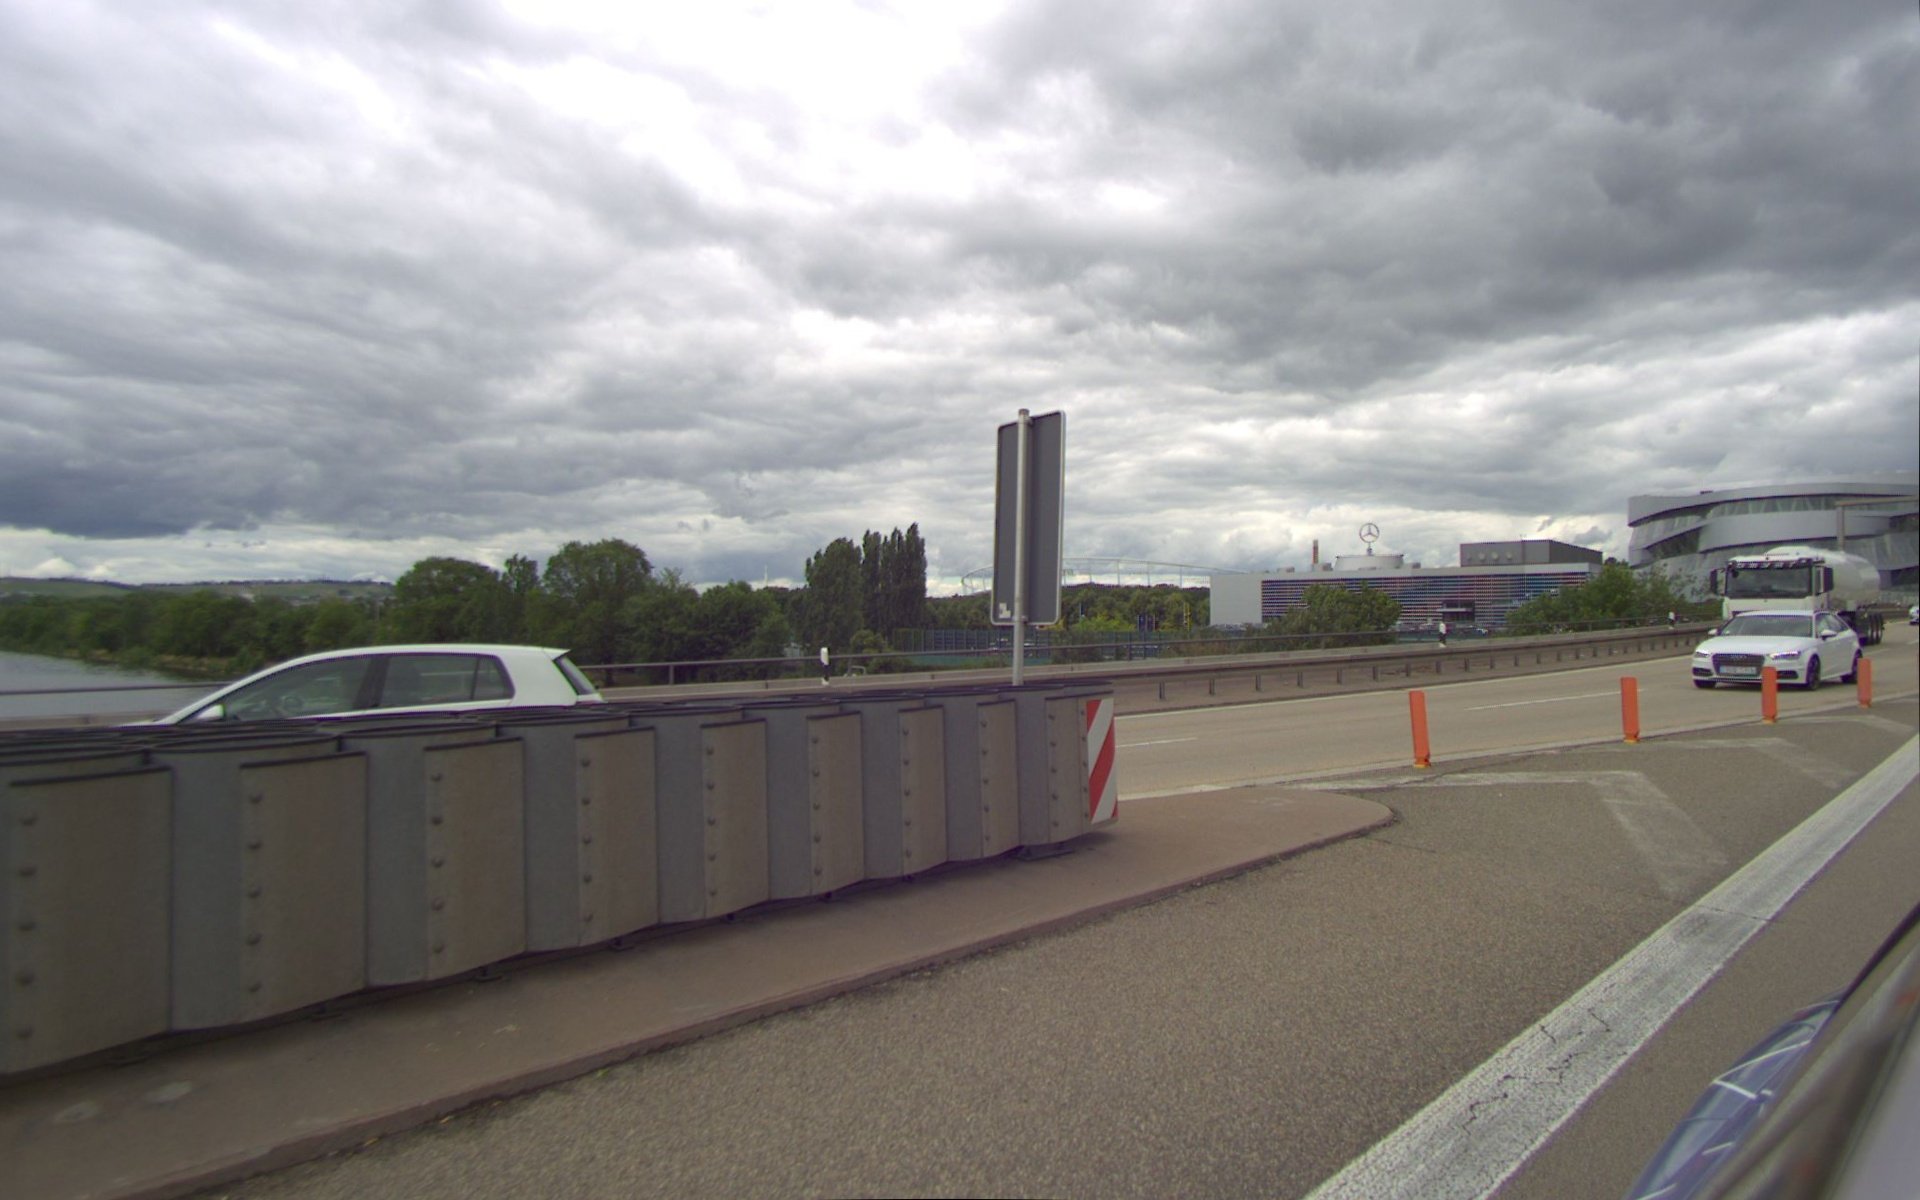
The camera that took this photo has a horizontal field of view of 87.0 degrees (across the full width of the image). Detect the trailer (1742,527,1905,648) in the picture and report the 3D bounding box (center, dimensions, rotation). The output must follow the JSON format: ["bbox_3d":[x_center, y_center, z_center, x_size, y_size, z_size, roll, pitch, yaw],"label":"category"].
[{"bbox_3d":[30.478,-0.464,35.488,10.812,3.695,2.745,-1,0,-41],"label":"trailer"}]

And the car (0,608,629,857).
[{"bbox_3d":[-4.721,0.888,7.911,3.917,1.499,1.739,-1,-3,-22],"label":"car"}]

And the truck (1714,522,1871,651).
[{"bbox_3d":[26.331,-0.434,31.922,6.091,3.692,2.733,-1,0,-40],"label":"truck"}]

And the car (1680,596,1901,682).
[{"bbox_3d":[15.500,0.709,18.880,3.855,1.428,1.791,-1,-4,-29],"label":"car"}]
